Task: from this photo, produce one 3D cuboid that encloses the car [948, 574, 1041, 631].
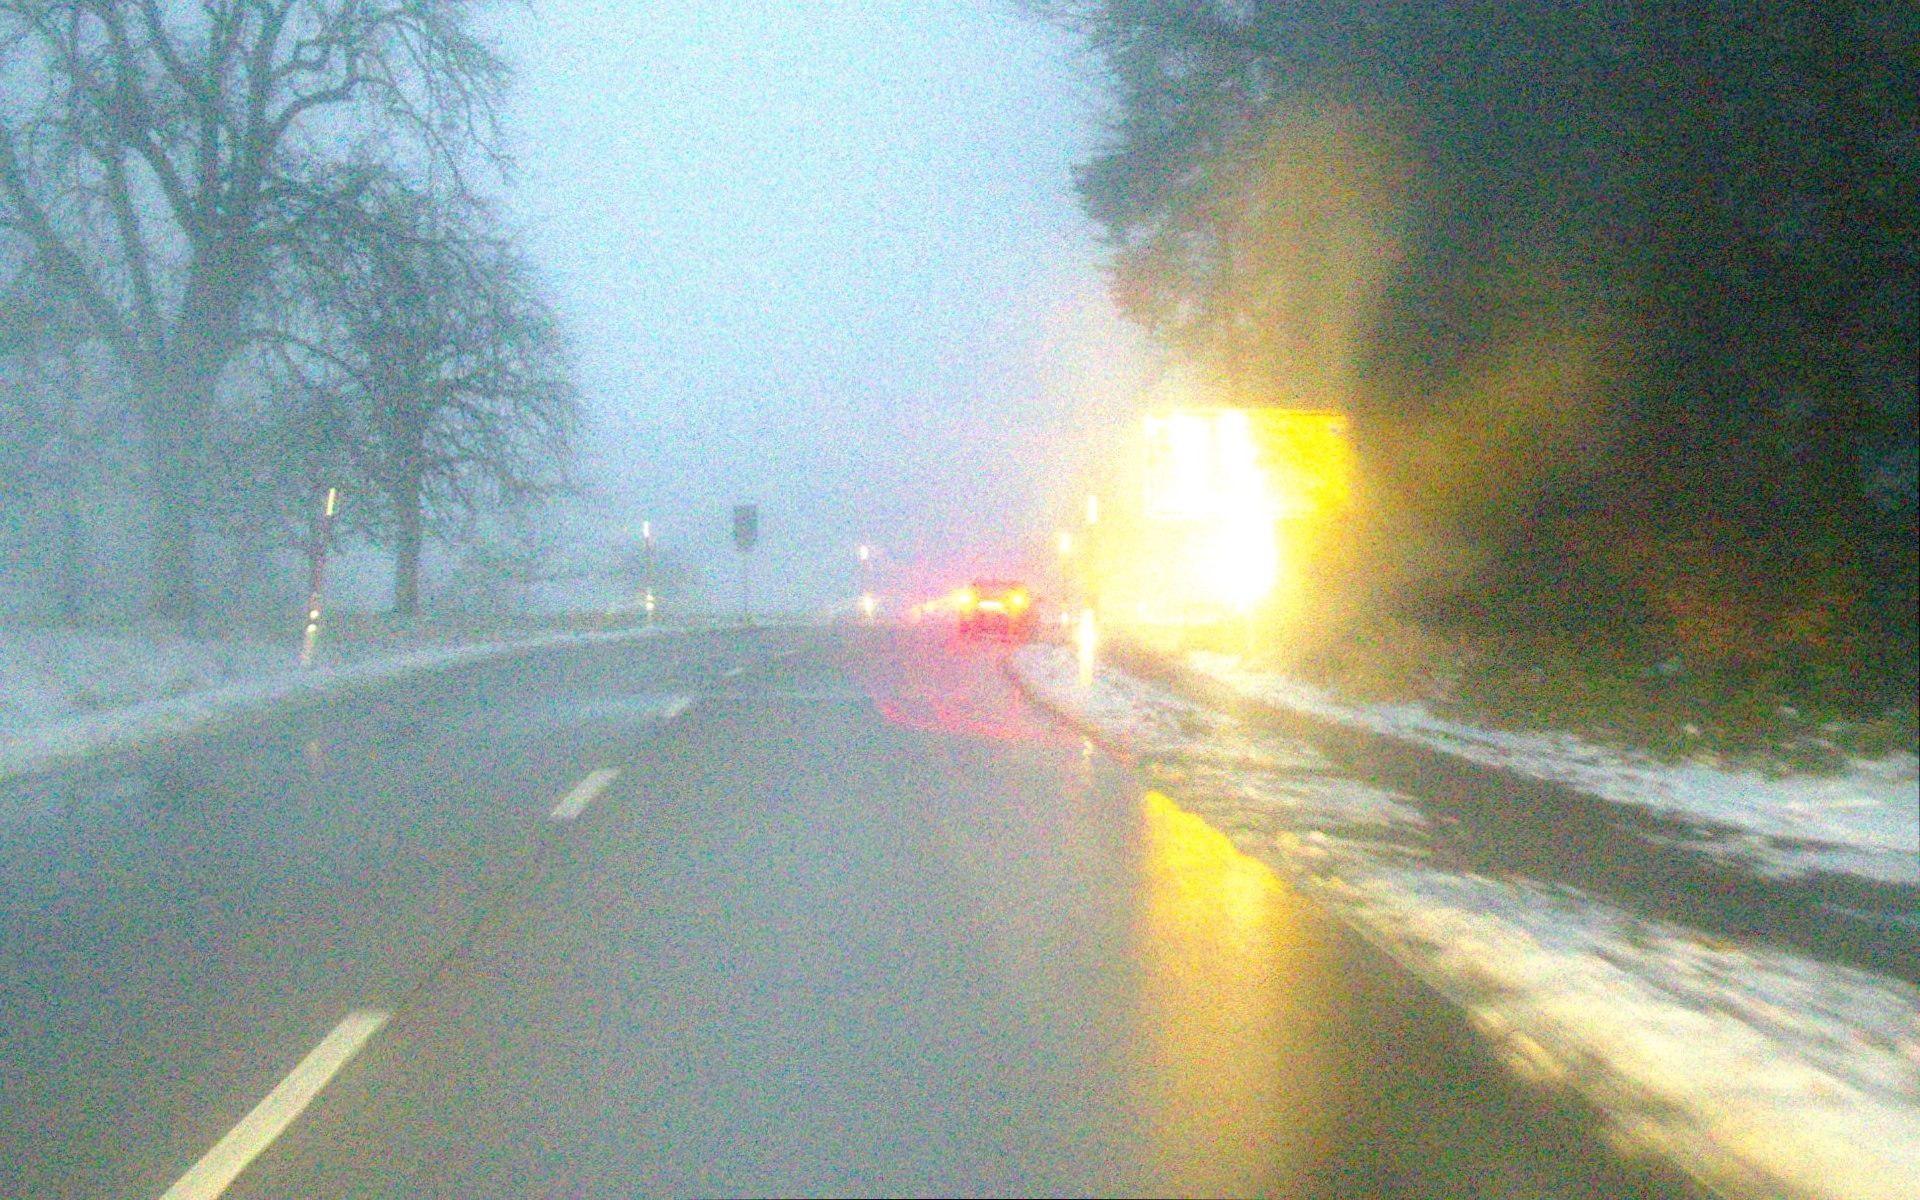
[{"bbox_3d":[0.871,0.046,84.698,1.922,1.272,3.999,1,1,6],"label":"car"}]
